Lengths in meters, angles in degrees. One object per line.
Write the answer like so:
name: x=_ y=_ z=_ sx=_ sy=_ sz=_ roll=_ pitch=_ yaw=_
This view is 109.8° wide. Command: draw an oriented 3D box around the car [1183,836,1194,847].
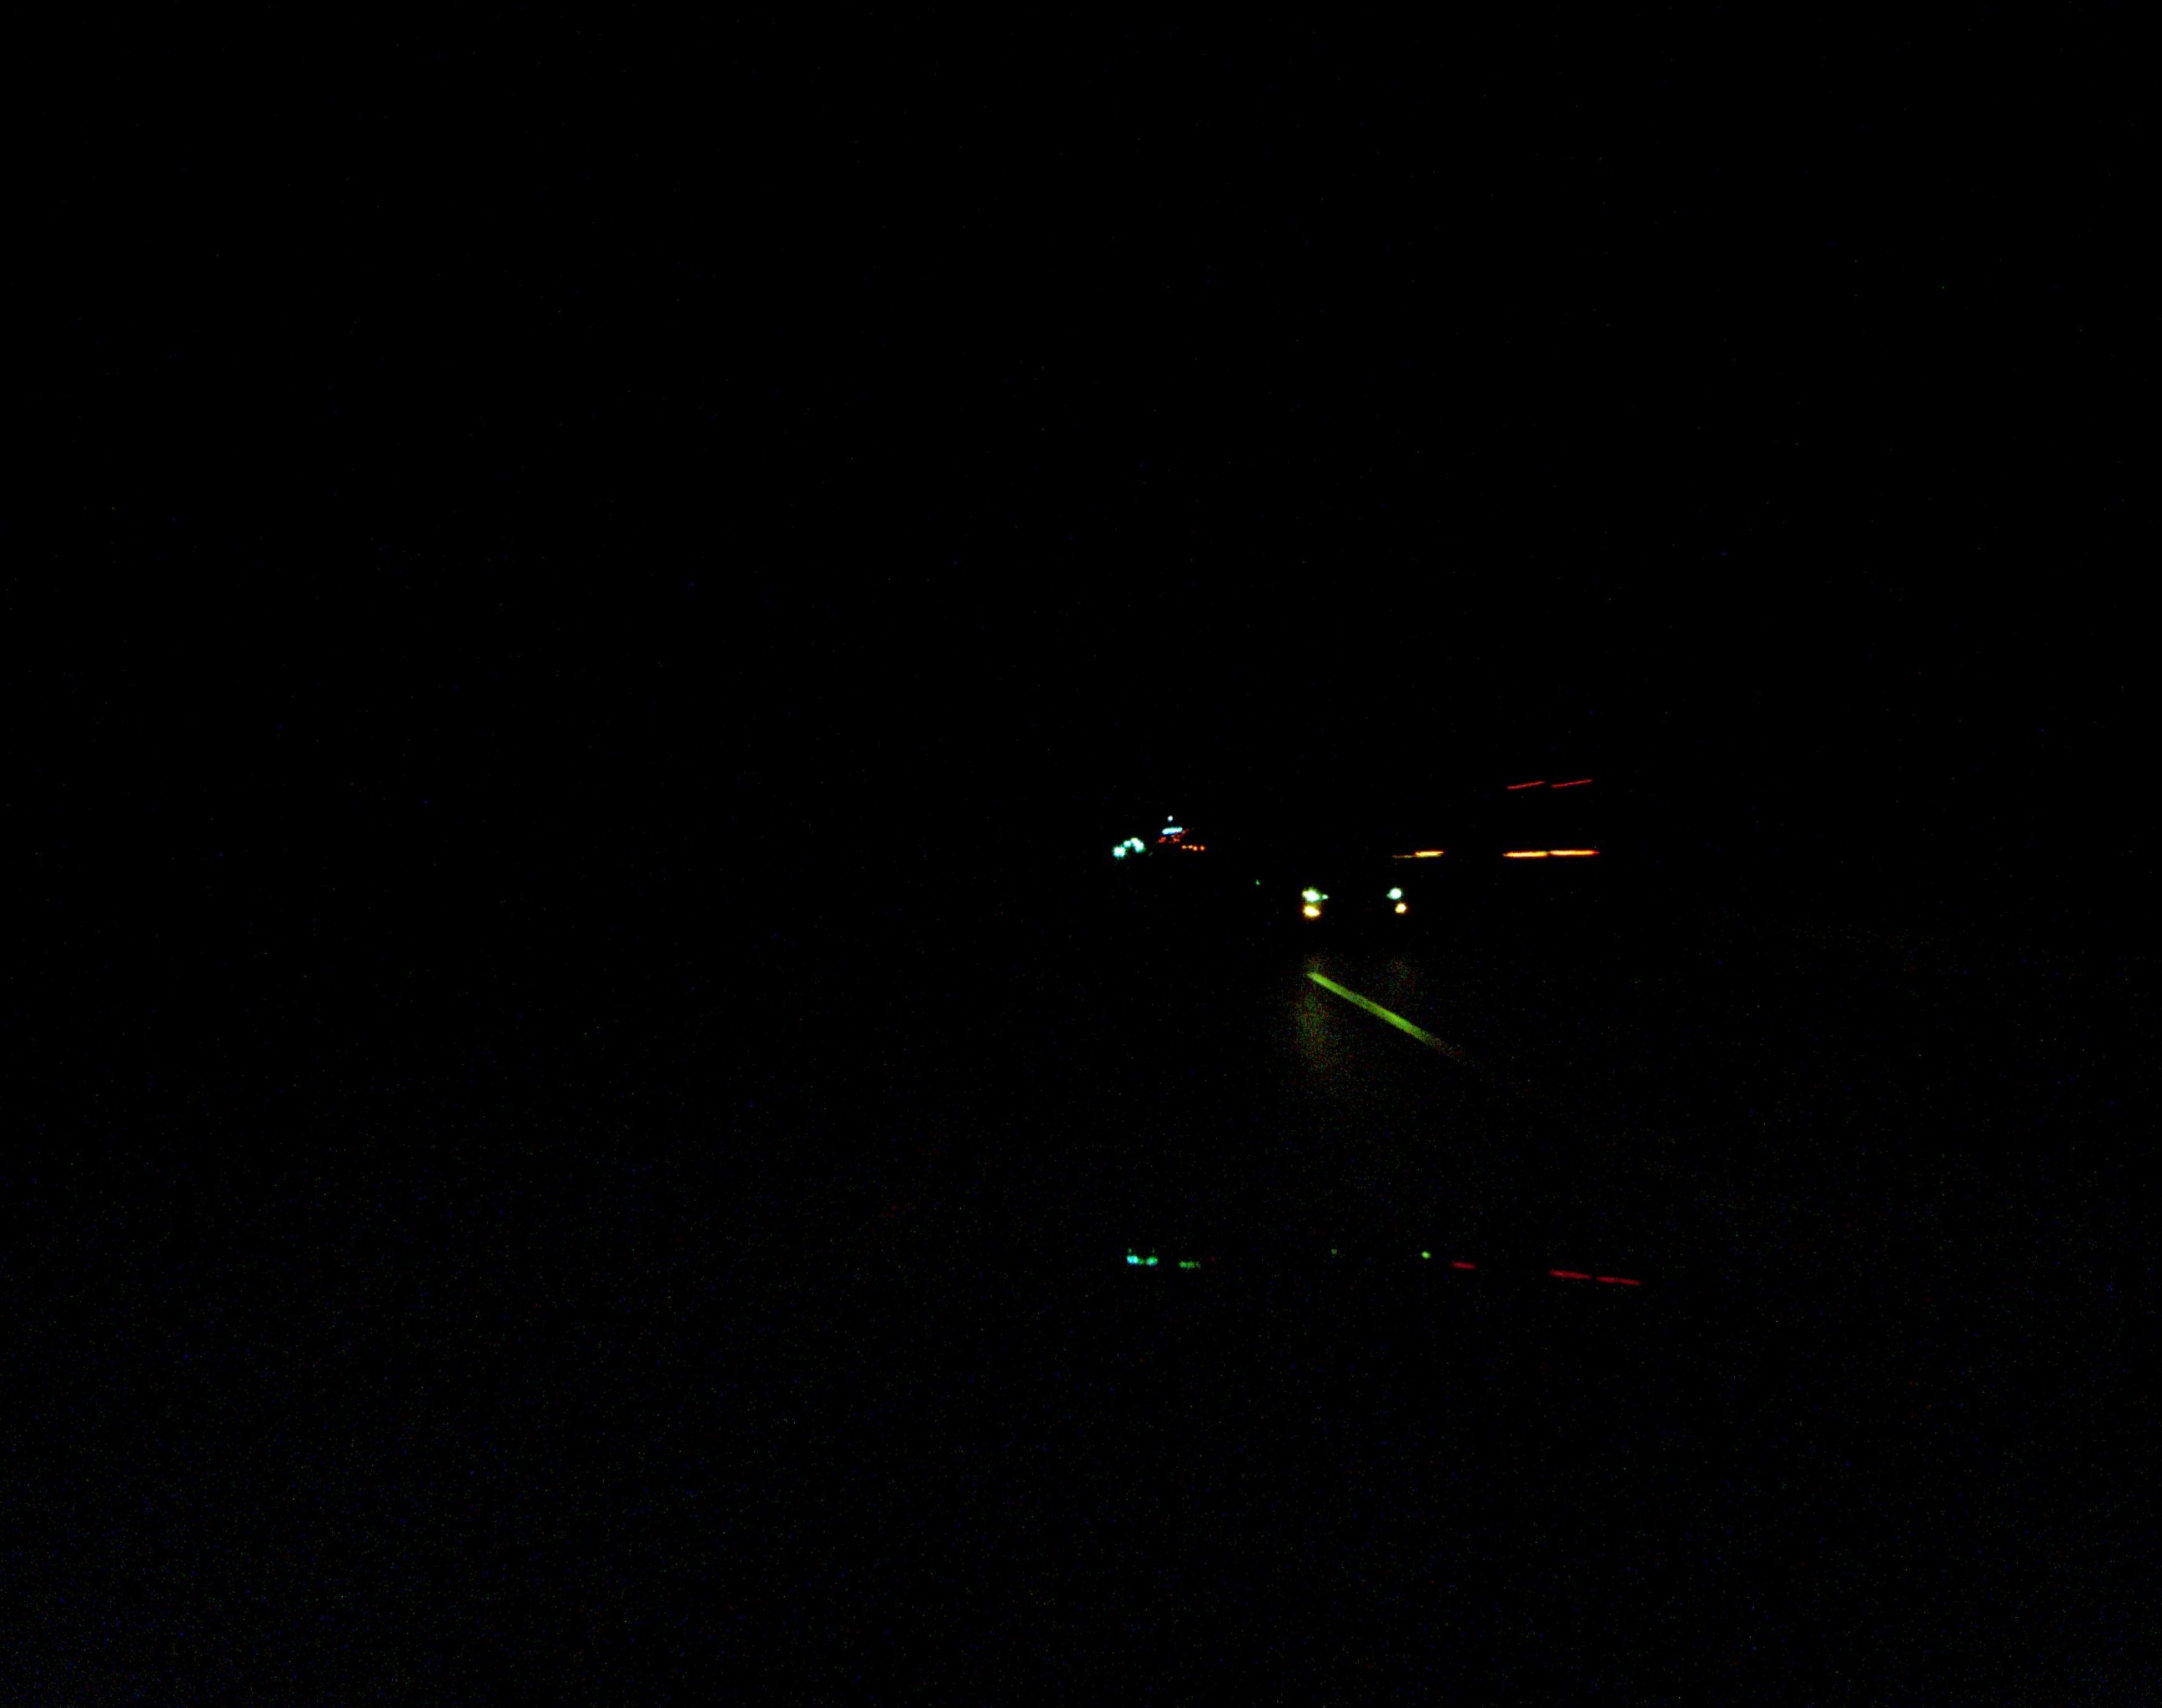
car: x=32.142 y=-3.716 z=227.986 sx=2.657 sy=3.067 sz=8.217 roll=-3 pitch=0 yaw=5

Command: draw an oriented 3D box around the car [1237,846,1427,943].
car: x=4.750 y=0.705 z=15.430 sx=1.998 sy=1.509 sz=5.651 roll=-3 pitch=-1 yaw=1

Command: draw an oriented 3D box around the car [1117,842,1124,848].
car: x=11.122 y=-2.601 z=213.875 sx=1.998 sy=1.653 sz=3.999 roll=-2 pitch=2 yaw=3

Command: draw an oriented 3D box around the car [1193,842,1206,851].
car: x=22.775 y=-1.476 z=145.976 sx=1.827 sy=1.684 sz=4.672 roll=-2 pitch=2 yaw=2

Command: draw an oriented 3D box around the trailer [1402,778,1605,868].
trailer: x=22.081 y=-1.448 z=41.352 sx=3.438 sy=3.957 sz=14.048 roll=-2 pitch=0 yaw=1

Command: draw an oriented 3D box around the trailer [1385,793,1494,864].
trailer: x=22.245 y=-1.494 z=47.698 sx=3.438 sy=3.957 sz=7.352 roll=-2 pitch=0 yaw=1
